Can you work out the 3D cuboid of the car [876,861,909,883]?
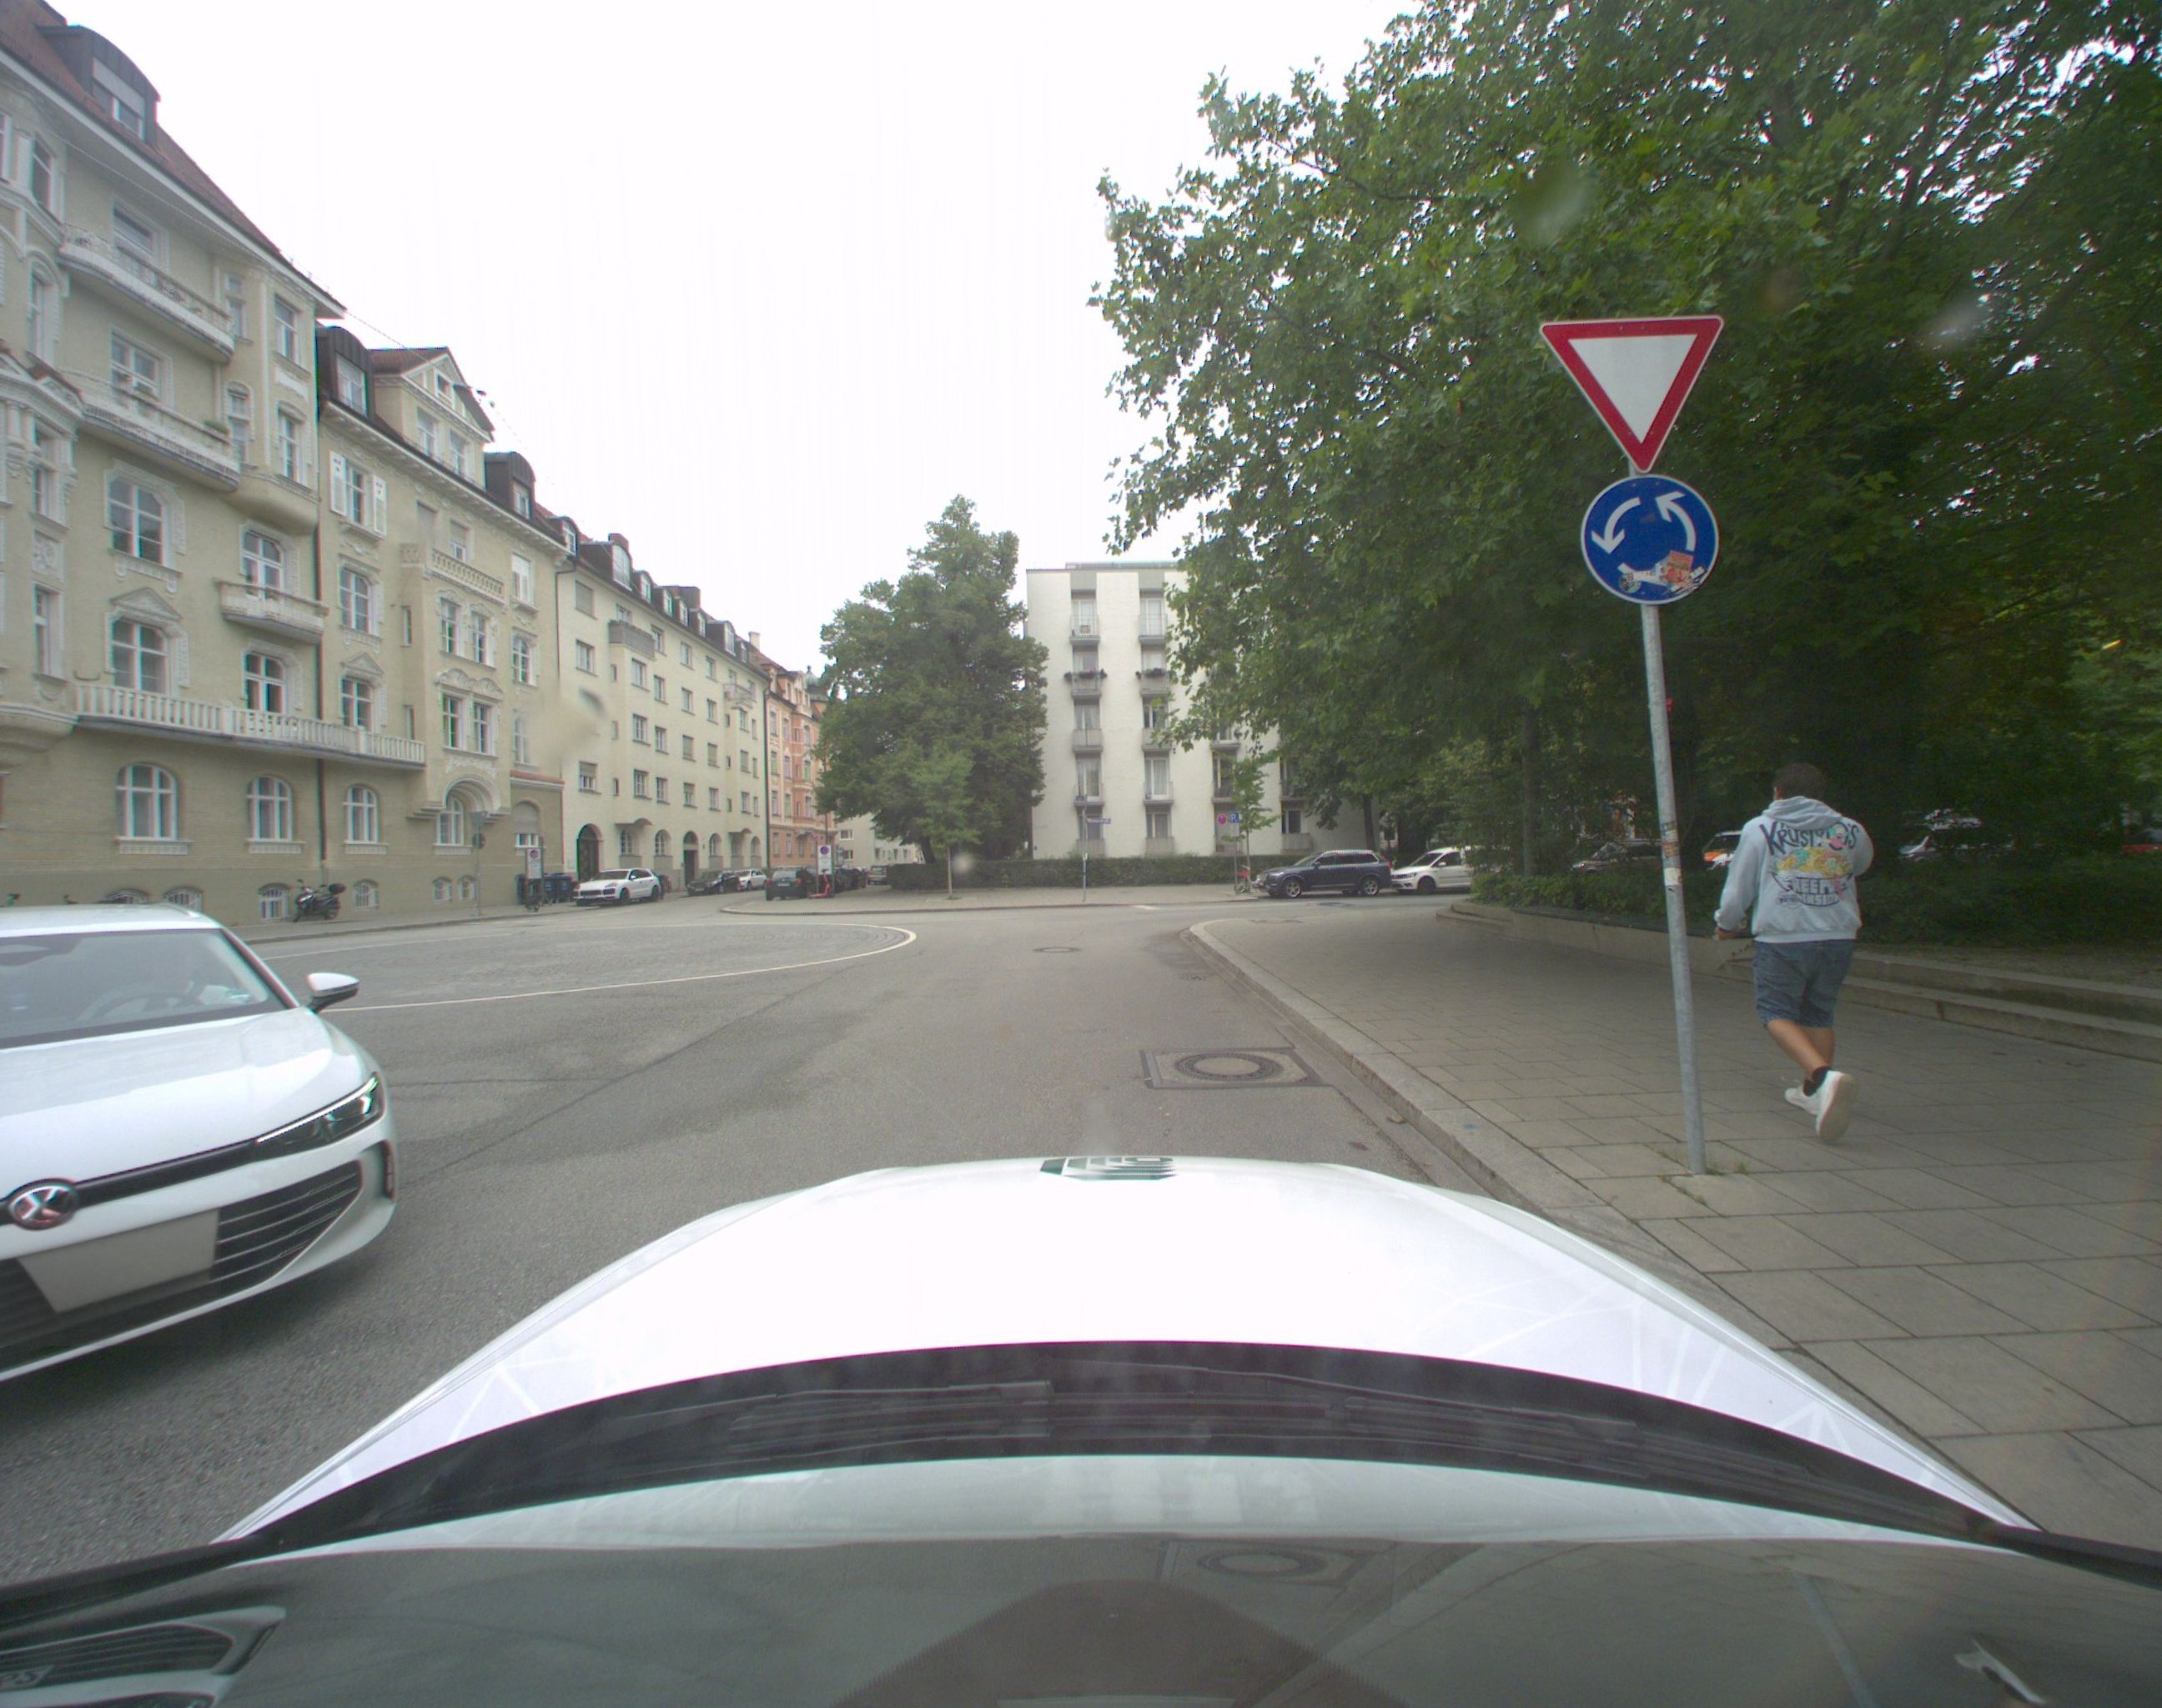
[{"bbox_3d":[-15.902,1.504,68.751,1.830,1.634,4.113,-3,0,-1],"label":"car"}]

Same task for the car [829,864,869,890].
[{"bbox_3d":[-15.086,1.460,53.060,1.792,1.505,4.105,-3,0,-7],"label":"car"}]

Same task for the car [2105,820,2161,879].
[{"bbox_3d":[35.532,-0.188,25.696,4.698,1.839,1.990,-1,-1,-10],"label":"car"}]

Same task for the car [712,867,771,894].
[{"bbox_3d":[-21.953,1.687,52.804,1.969,1.581,4.406,-1,0,-1],"label":"car"}]

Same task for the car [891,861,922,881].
[{"bbox_3d":[-15.901,1.518,74.419,1.829,1.634,3.820,-3,0,1],"label":"car"}]

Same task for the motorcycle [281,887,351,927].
[{"bbox_3d":[-25.148,1.714,26.807,0.596,1.176,1.828,-2,0,-3],"label":"motorcycle"}]

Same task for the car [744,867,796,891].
[{"bbox_3d":[-22.065,1.753,57.967,1.969,1.581,4.406,-1,0,-1],"label":"car"}]

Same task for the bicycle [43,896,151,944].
[{"bbox_3d":[-25.101,1.658,20.820,0.561,1.049,1.828,-2,0,-3],"label":"bicycle"}]

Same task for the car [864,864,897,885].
[{"bbox_3d":[-15.744,1.607,64.143,1.832,1.505,4.107,-3,0,-5],"label":"car"}]

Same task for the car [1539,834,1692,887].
[{"bbox_3d":[21.165,0.266,32.307,5.193,1.933,1.886,-1,-1,-12],"label":"car"}]

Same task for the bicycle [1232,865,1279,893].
[{"bbox_3d":[7.044,0.994,32.876,1.826,1.049,0.489,-2,0,-13],"label":"bicycle"}]

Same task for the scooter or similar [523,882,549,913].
[{"bbox_3d":[-21.524,1.694,32.159,1.199,1.193,0.471,-2,-1,37],"label":"scooter or similar"}]

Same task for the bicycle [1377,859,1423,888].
[{"bbox_3d":[13.061,0.785,33.384,0.539,1.149,1.813,-2,0,-29],"label":"bicycle"}]

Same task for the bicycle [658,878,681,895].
[{"bbox_3d":[-26.123,2.054,51.711,0.561,1.049,1.828,-2,0,-3],"label":"bicycle"}]

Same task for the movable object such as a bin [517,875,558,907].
[{"bbox_3d":[-25.109,1.696,37.637,1.087,1.425,1.173,-2,0,-1],"label":"movable object such as a bin"}]

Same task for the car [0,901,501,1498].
[{"bbox_3d":[-4.710,1.016,3.680,4.827,1.448,1.903,-2,0,35],"label":"car"}]

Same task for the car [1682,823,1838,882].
[{"bbox_3d":[27.999,-0.045,33.638,5.225,2.273,1.946,-1,-1,-10],"label":"car"}]

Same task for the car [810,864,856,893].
[{"bbox_3d":[-14.374,1.375,47.322,1.792,1.505,4.105,-3,0,-7],"label":"car"}]

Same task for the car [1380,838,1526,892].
[{"bbox_3d":[14.264,0.427,31.347,4.830,1.918,1.830,-1,-1,-8],"label":"car"}]

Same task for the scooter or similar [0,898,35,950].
[{"bbox_3d":[-24.794,1.611,18.786,0.469,1.115,1.202,-1,-1,-34],"label":"scooter or similar"}]

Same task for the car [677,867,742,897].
[{"bbox_3d":[-21.752,1.607,47.928,1.972,1.616,4.704,-1,0,-5],"label":"car"}]

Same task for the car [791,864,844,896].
[{"bbox_3d":[-13.761,1.308,42.781,1.792,1.505,4.224,-3,0,-7],"label":"car"}]

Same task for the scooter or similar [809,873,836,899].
[{"bbox_3d":[-11.085,1.355,34.913,1.005,1.088,0.387,-1,-1,-30],"label":"scooter or similar"}]

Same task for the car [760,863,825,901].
[{"bbox_3d":[-13.204,1.241,37.558,1.817,1.505,4.411,-3,0,-7],"label":"car"}]

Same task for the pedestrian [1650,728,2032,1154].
[{"bbox_3d":[3.560,0.375,3.964,0.869,1.771,1.054,-2,-1,8],"label":"pedestrian"}]

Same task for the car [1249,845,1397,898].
[{"bbox_3d":[9.012,0.647,30.543,4.892,1.792,1.995,-1,-1,-7],"label":"car"}]

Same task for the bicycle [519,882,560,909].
[{"bbox_3d":[-23.200,1.753,34.927,0.561,1.049,1.828,-2,0,-3],"label":"bicycle"}]

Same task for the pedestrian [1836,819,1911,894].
[{"bbox_3d":[20.322,0.063,20.891,1.048,1.831,0.874,-2,-1,-8],"label":"pedestrian"}]

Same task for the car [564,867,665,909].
[{"bbox_3d":[-21.275,1.518,37.383,1.971,1.701,4.835,-1,0,-3],"label":"car"}]

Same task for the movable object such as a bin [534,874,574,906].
[{"bbox_3d":[-25.110,1.694,38.834,1.087,1.425,1.173,-2,0,-1],"label":"movable object such as a bin"}]

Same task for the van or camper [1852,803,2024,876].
[{"bbox_3d":[36.799,-0.605,35.010,5.990,2.945,2.001,-1,-2,-10],"label":"van or camper"}]

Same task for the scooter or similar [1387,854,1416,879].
[{"bbox_3d":[15.543,0.607,39.480,1.209,1.193,0.399,-1,-1,-4],"label":"scooter or similar"}]
